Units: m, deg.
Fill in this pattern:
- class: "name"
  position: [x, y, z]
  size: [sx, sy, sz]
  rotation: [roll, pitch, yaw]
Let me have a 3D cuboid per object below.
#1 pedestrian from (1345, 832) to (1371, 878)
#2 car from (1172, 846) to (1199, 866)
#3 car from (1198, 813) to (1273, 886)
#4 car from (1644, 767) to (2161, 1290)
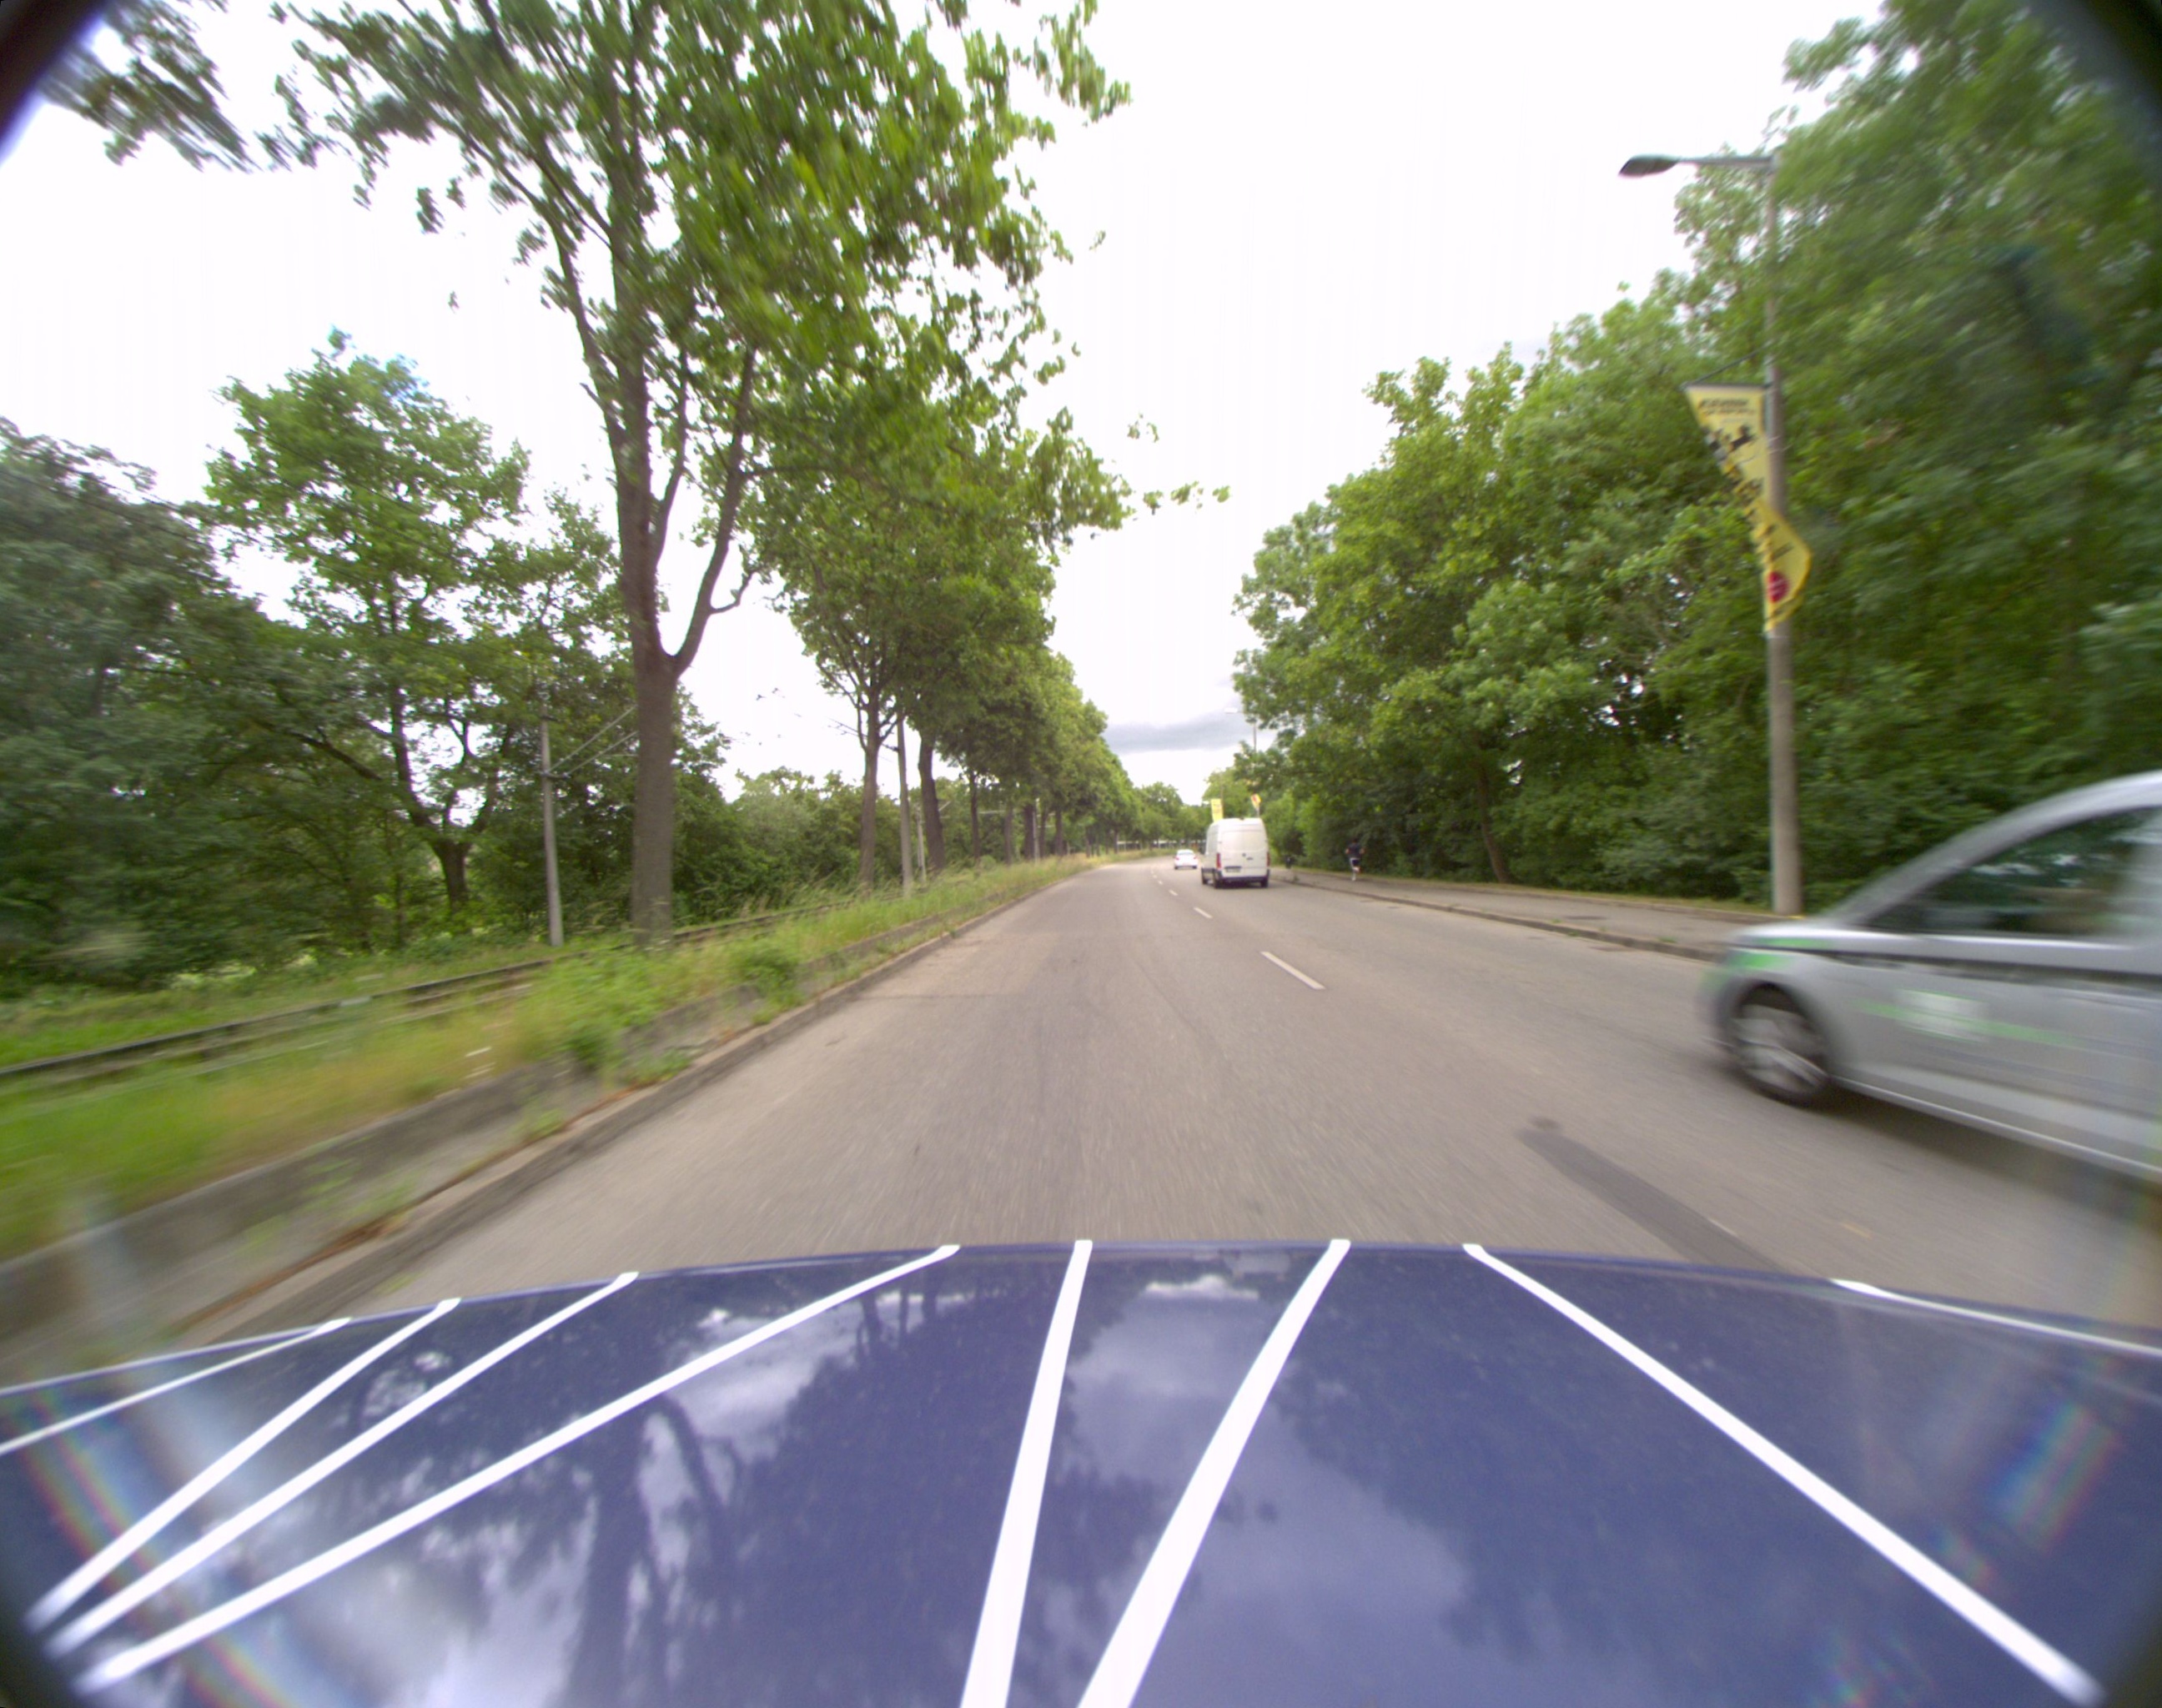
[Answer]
- class: "pedestrian"
  position: [10.534, 0.031, 28.900]
  size: [0.601, 1.704, 0.814]
  rotation: [-4, 1, 2]
- class: "car"
  position: [8.289, 0.100, 59.910]
  size: [1.727, 1.420, 4.003]
  rotation: [-2, 1, 13]
- class: "car"
  position: [6.073, -0.186, 30.656]
  size: [1.998, 2.611, 5.895]
  rotation: [-1, 0, 2]
- class: "car"
  position: [4.612, 0.575, 2.682]
  size: [1.861, 1.789, 4.556]
  rotation: [-1, 0, 0]
